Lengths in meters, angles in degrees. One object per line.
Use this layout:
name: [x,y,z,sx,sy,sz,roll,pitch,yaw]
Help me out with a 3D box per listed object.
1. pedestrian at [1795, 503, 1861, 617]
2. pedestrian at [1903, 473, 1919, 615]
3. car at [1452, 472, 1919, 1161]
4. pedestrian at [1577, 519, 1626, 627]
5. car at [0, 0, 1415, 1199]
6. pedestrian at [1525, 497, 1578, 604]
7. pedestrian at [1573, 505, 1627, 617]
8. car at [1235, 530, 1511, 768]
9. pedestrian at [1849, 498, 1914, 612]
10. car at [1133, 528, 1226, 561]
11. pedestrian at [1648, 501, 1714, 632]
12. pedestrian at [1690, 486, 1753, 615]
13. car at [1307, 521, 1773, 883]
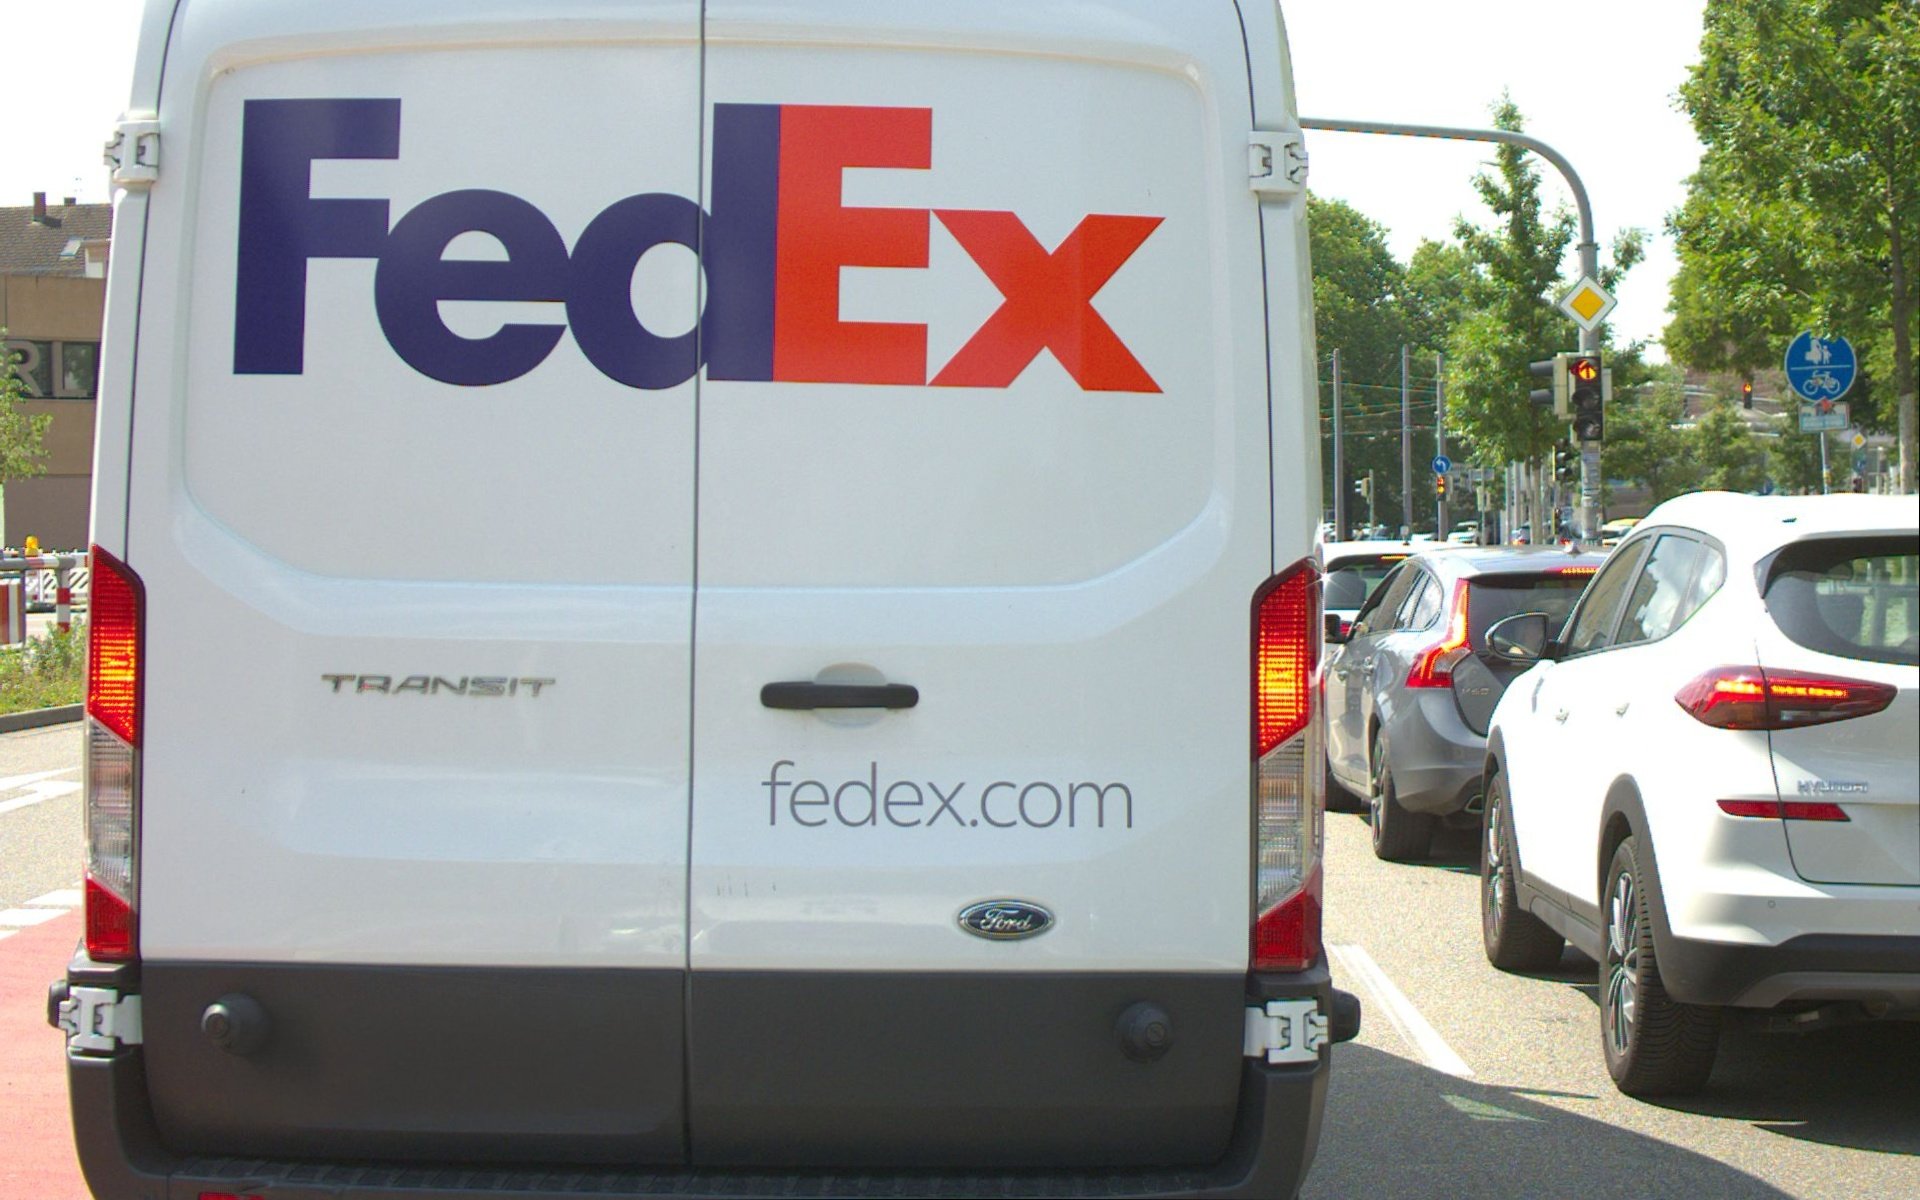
pedestrian: [14.138,-0.655,56.029,0.758,1.843,0.816,-1,1,-10]
pedestrian: [12.427,-0.719,43.614,0.759,1.783,0.816,0,1,5]
car: [2.645,0.472,10.332,1.814,1.673,3.974,0,1,1]
pedestrian: [11.013,-0.468,59.033,0.759,1.843,0.816,0,1,15]
car: [-0.346,0.071,7.196,2.072,2.572,4.428,0,1,1]
pedestrian: [10.287,-0.866,59.844,0.813,1.843,0.761,0,1,3]
pedestrian: [10.556,-0.647,56.673,0.759,1.843,0.815,0,1,18]
car: [2.731,0.273,23.304,1.499,1.459,3.474,0,1,1]
pedestrian: [15.082,-0.736,56.256,0.758,1.843,0.816,-1,1,-8]
car: [10.328,-2.621,162.072,4.232,1.493,1.741,-1,1,-1]
pedestrian: [10.269,-0.482,48.981,0.759,1.843,0.816,-1,1,1]
pedestrian: [11.032,-0.717,49.797,0.759,1.843,0.816,-1,1,3]
car: [2.699,0.401,16.741,1.691,1.543,3.720,0,1,1]
